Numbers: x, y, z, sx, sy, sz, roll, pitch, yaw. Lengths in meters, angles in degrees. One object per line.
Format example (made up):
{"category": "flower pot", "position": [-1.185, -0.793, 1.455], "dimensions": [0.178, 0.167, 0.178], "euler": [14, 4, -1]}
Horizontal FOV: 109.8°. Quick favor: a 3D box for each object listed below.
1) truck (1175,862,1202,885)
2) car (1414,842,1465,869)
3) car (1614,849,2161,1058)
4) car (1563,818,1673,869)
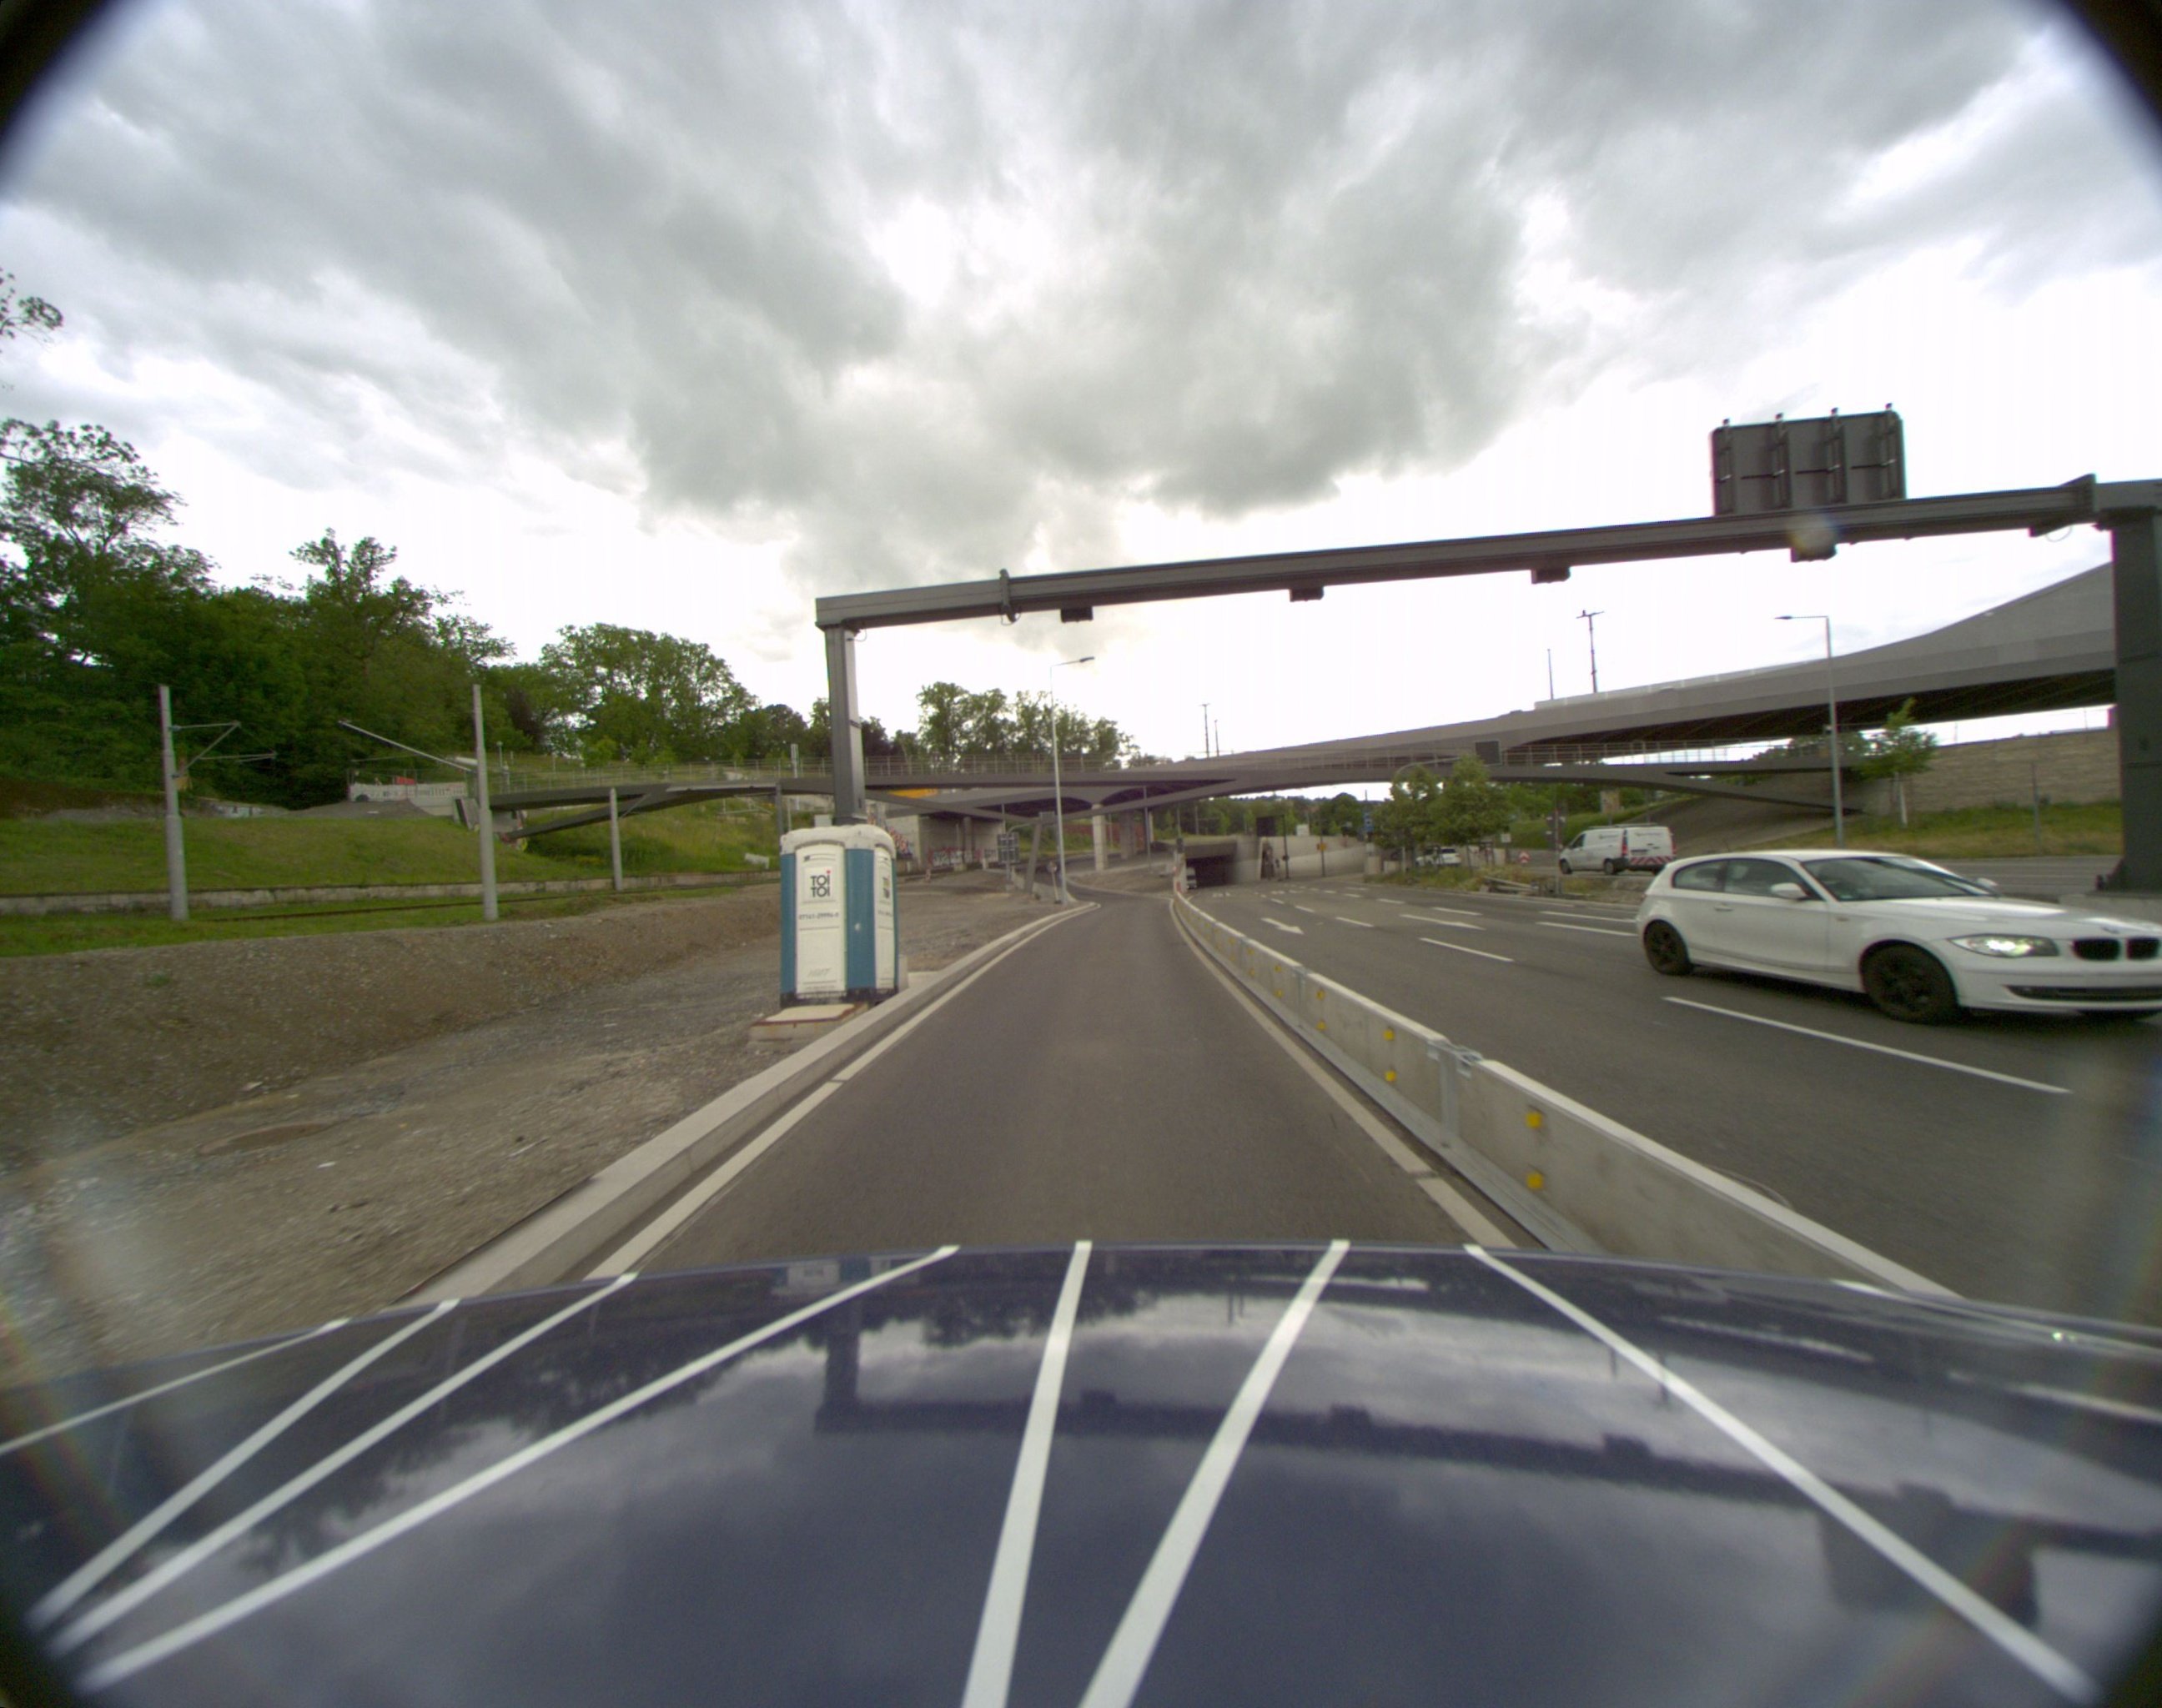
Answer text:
{"category": "truck", "position": [16.316, 2.904, 115.823], "dimensions": [2.748, 3.108, 8.121], "euler": [-5, 0, 1]}
{"category": "car", "position": [24.129, 0.099, 51.310], "dimensions": [1.803, 1.652, 4.291], "euler": [-4, -1, 8]}
{"category": "car", "position": [7.392, 0.708, 7.388], "dimensions": [1.642, 1.424, 3.982], "euler": [-2, 0, 1]}
{"category": "car", "position": [20.922, -0.367, 29.793], "dimensions": [1.829, 1.796, 3.803], "euler": [2, -1, 6]}
